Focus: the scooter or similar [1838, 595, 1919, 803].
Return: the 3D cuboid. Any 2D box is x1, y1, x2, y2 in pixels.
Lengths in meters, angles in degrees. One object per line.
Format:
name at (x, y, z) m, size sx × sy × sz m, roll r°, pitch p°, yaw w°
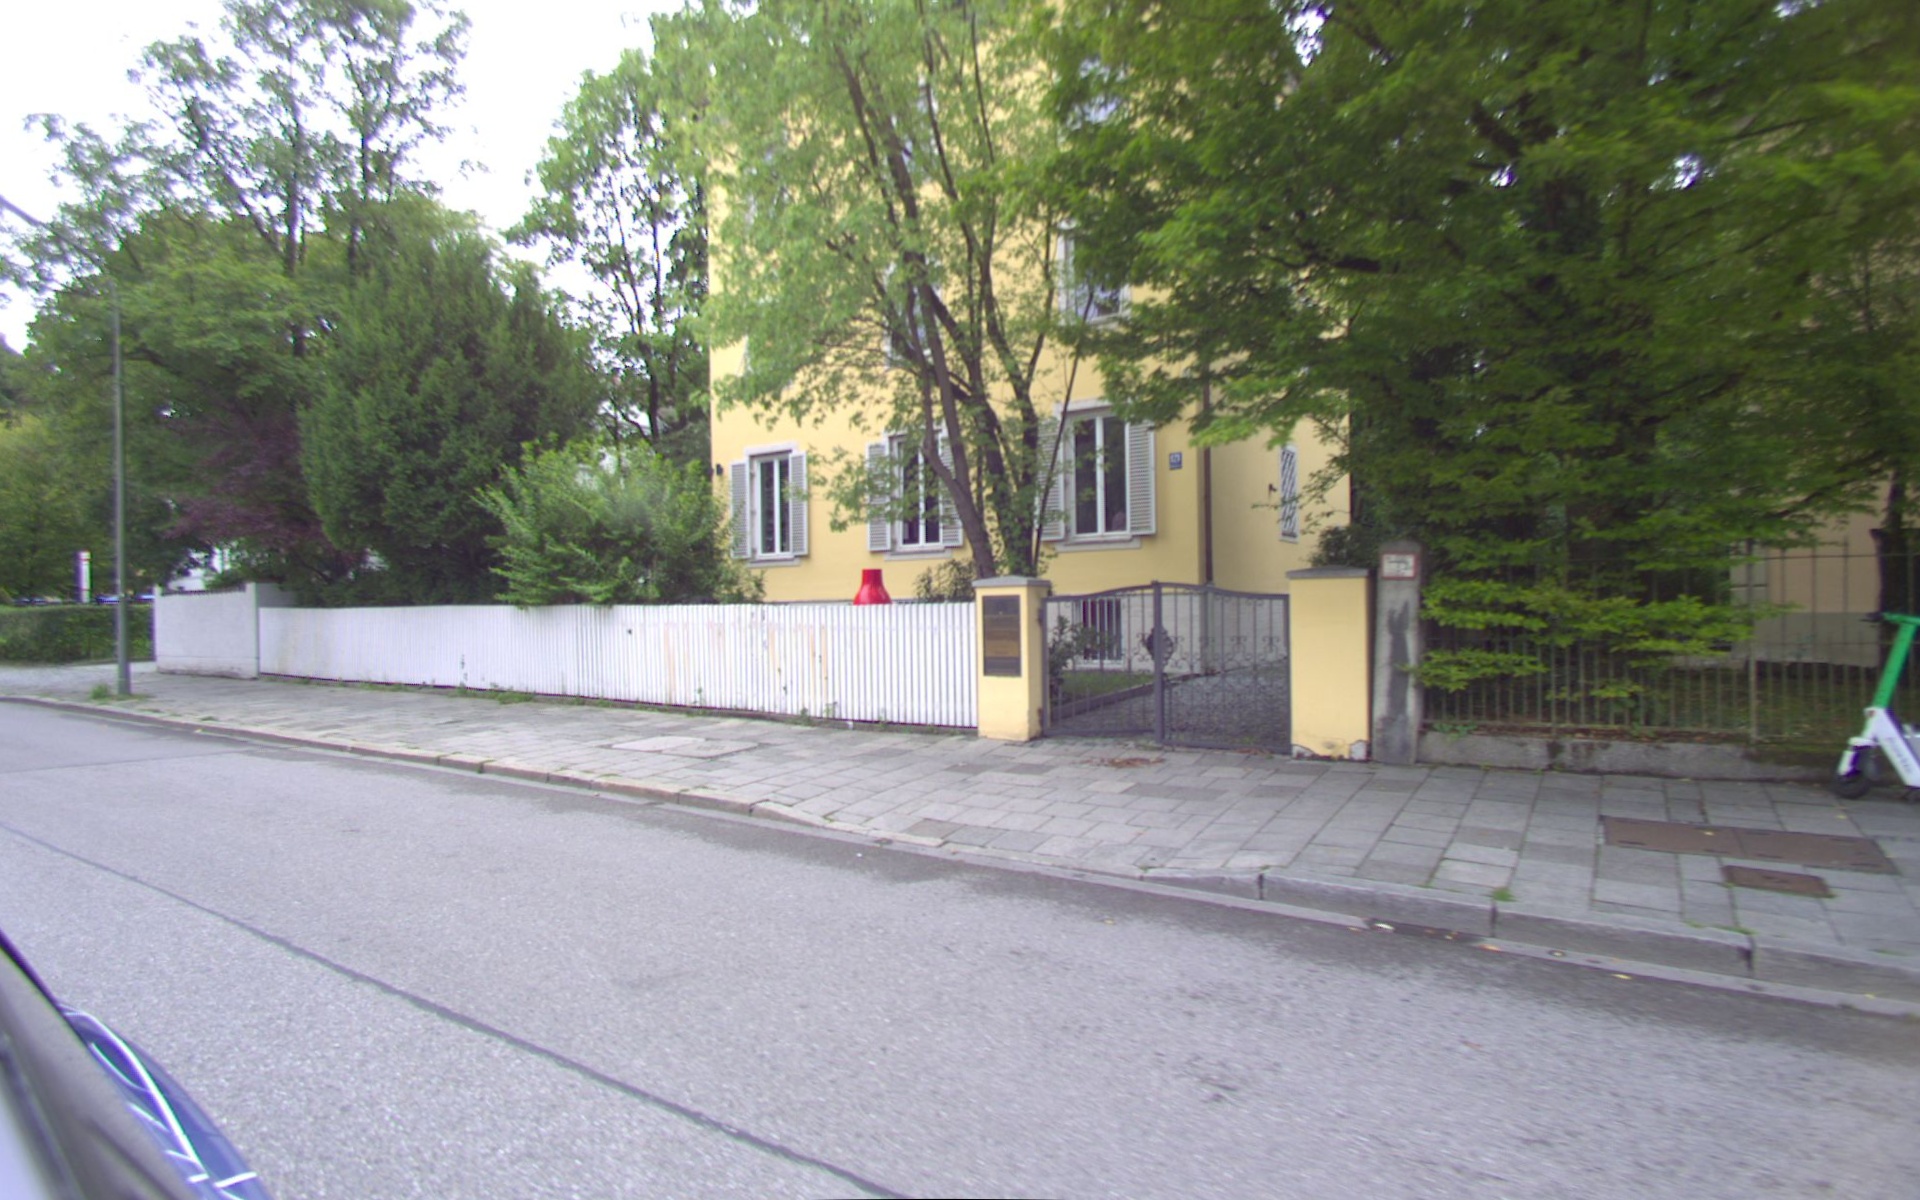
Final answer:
scooter or similar at (6.050, 0.578, 5.858) m, size 1.417 × 1.198 × 0.387 m, roll -1°, pitch 4°, yaw 36°
